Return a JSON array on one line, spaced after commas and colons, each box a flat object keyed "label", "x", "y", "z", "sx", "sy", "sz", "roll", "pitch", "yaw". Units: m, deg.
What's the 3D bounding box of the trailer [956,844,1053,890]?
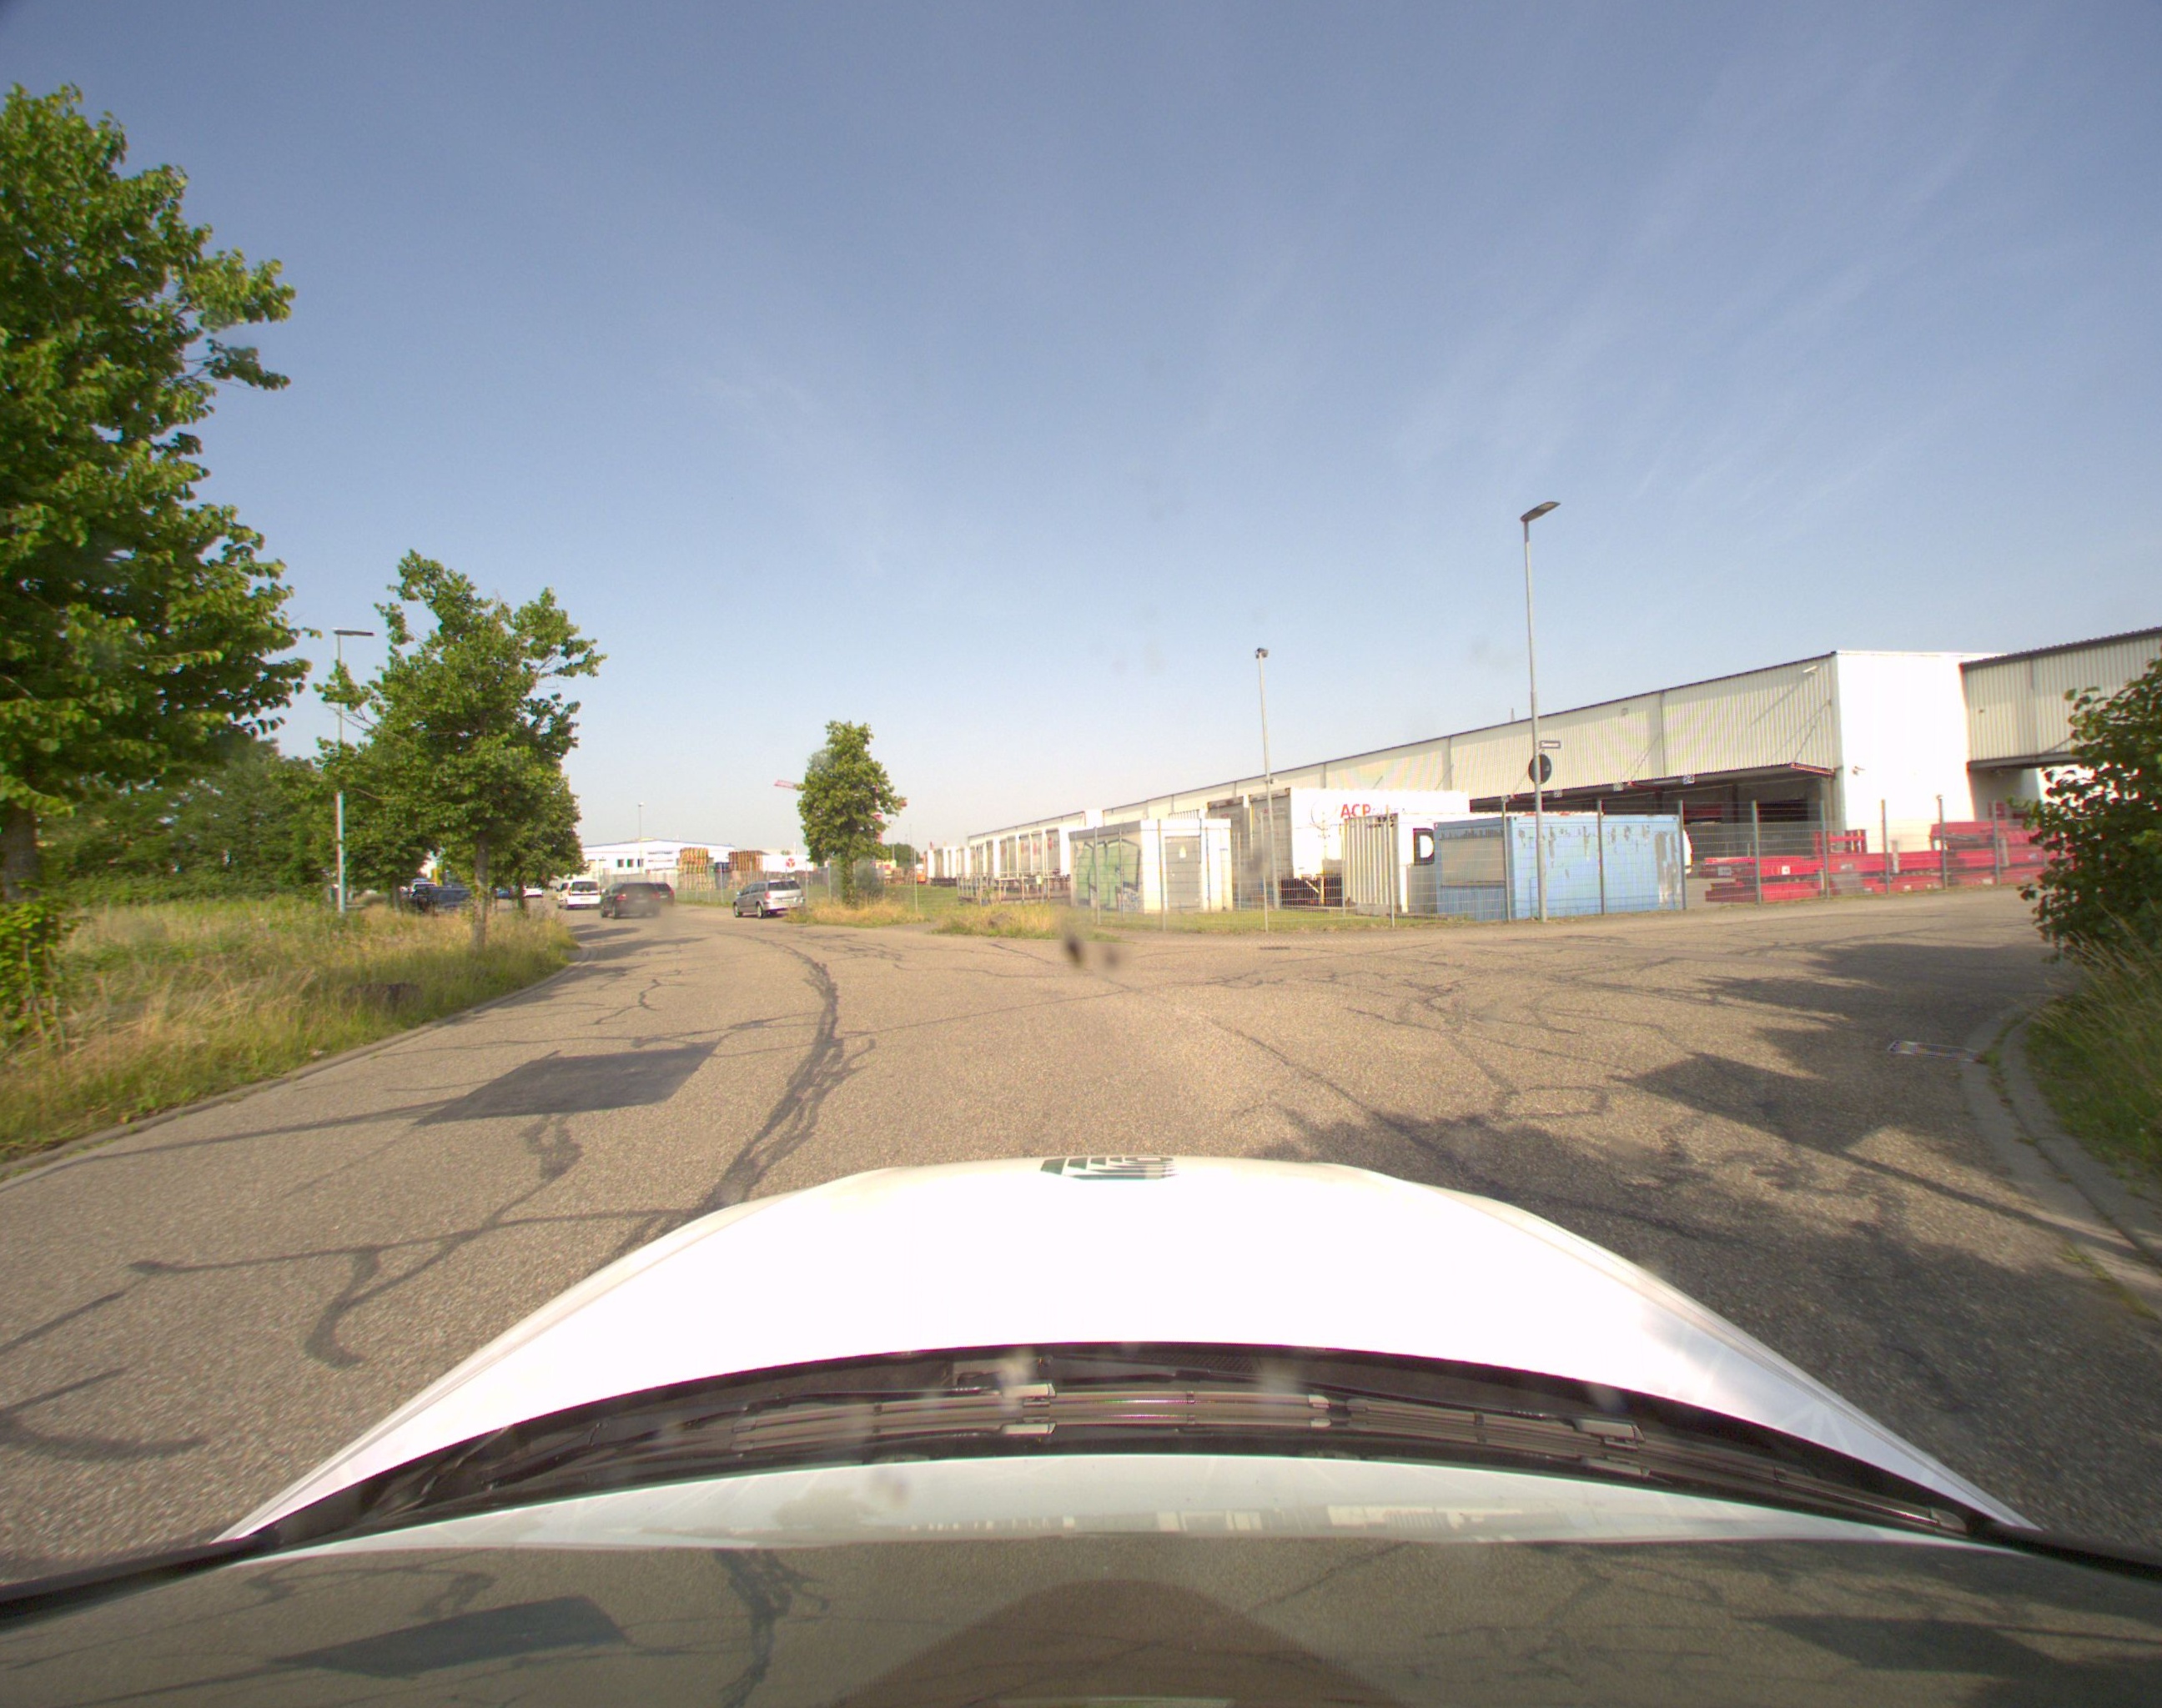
[{"label": "trailer", "x": -6.695, "y": 1.125, "z": 71.169, "sx": 7.995, "sy": 3.894, "sz": 2.755, "roll": 0, "pitch": -1, "yaw": -22}]

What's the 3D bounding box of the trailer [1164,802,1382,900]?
[{"label": "trailer", "x": 8.031, "y": -0.161, "z": 33.937, "sx": 8.767, "sy": 3.761, "sz": 2.770, "roll": -1, "pitch": -2, "yaw": -22}]

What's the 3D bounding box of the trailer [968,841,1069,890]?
[{"label": "trailer", "x": -5.213, "y": 0.951, "z": 68.315, "sx": 7.995, "sy": 3.894, "sz": 2.755, "roll": 0, "pitch": -1, "yaw": -22}]

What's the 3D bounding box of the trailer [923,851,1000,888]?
[{"label": "trailer", "x": -13.007, "y": 1.629, "z": 88.767, "sx": 7.995, "sy": 3.894, "sz": 2.722, "roll": 0, "pitch": -1, "yaw": -22}]

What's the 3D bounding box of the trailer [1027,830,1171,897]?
[{"label": "trailer", "x": 1.132, "y": 0.572, "z": 50.487, "sx": 8.570, "sy": 3.894, "sz": 2.755, "roll": 0, "pitch": -1, "yaw": -22}]

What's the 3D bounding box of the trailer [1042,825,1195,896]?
[{"label": "trailer", "x": 2.210, "y": 0.380, "z": 47.588, "sx": 8.570, "sy": 3.894, "sz": 2.755, "roll": 0, "pitch": -1, "yaw": -22}]

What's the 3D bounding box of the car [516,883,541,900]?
[{"label": "car", "x": -59.210, "y": 4.000, "z": 87.214, "sx": 1.730, "sy": 1.680, "sz": 3.902, "roll": -1, "pitch": -2, "yaw": -42}]

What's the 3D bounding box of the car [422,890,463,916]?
[{"label": "car", "x": -39.080, "y": 2.983, "z": 49.833, "sx": 1.848, "sy": 1.496, "sz": 4.001, "roll": 1, "pitch": -2, "yaw": -40}]

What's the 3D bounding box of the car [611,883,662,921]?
[{"label": "car", "x": -20.742, "y": 2.195, "z": 37.911, "sx": 1.893, "sy": 1.586, "sz": 4.072, "roll": -2, "pitch": -2, "yaw": -31}]

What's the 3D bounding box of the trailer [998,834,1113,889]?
[{"label": "trailer", "x": -1.885, "y": 0.556, "z": 60.011, "sx": 8.065, "sy": 3.894, "sz": 2.755, "roll": 0, "pitch": -1, "yaw": -22}]

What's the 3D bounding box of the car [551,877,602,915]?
[{"label": "car", "x": -30.954, "y": 2.584, "z": 49.904, "sx": 2.139, "sy": 2.110, "sz": 4.571, "roll": -2, "pitch": -2, "yaw": -38}]

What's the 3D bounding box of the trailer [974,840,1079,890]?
[{"label": "trailer", "x": -4.347, "y": 0.861, "z": 65.435, "sx": 7.995, "sy": 3.894, "sz": 2.755, "roll": 0, "pitch": -1, "yaw": -22}]

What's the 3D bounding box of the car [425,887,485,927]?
[{"label": "car", "x": -27.664, "y": 2.290, "z": 35.946, "sx": 1.919, "sy": 1.626, "sz": 4.396, "roll": 1, "pitch": -2, "yaw": -40}]

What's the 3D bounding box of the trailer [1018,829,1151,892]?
[{"label": "trailer", "x": 0.244, "y": 0.417, "z": 53.353, "sx": 8.341, "sy": 3.894, "sz": 2.755, "roll": 0, "pitch": -1, "yaw": -22}]

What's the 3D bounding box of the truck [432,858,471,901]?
[{"label": "truck", "x": -66.621, "y": 2.721, "z": 86.070, "sx": 2.520, "sy": 4.145, "sz": 10.254, "roll": -4, "pitch": 0, "yaw": -41}]

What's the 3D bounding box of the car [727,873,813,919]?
[{"label": "car", "x": -12.834, "y": 1.714, "z": 33.489, "sx": 1.815, "sy": 1.626, "sz": 4.396, "roll": -4, "pitch": 0, "yaw": -41}]

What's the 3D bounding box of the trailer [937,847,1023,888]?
[{"label": "trailer", "x": -9.945, "y": 1.355, "z": 80.407, "sx": 7.995, "sy": 3.894, "sz": 2.755, "roll": 0, "pitch": -1, "yaw": -22}]

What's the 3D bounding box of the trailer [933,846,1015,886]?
[{"label": "trailer", "x": -10.930, "y": 1.193, "z": 83.214, "sx": 7.995, "sy": 3.894, "sz": 2.755, "roll": 0, "pitch": -1, "yaw": -22}]

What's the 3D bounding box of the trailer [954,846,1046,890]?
[{"label": "trailer", "x": -7.378, "y": 1.296, "z": 74.604, "sx": 7.995, "sy": 3.894, "sz": 2.755, "roll": 0, "pitch": -1, "yaw": -22}]

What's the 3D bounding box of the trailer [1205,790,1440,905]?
[{"label": "trailer", "x": 9.279, "y": -0.306, "z": 31.167, "sx": 8.567, "sy": 3.893, "sz": 2.756, "roll": -3, "pitch": -1, "yaw": -21}]

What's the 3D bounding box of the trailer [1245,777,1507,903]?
[{"label": "trailer", "x": 10.220, "y": -0.495, "z": 28.177, "sx": 8.565, "sy": 3.894, "sz": 2.756, "roll": -2, "pitch": -3, "yaw": -20}]

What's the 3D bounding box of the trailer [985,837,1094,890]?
[{"label": "trailer", "x": -3.181, "y": 0.750, "z": 62.676, "sx": 7.995, "sy": 3.894, "sz": 2.755, "roll": 0, "pitch": -1, "yaw": -22}]

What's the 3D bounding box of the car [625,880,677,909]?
[{"label": "car", "x": -25.788, "y": 2.422, "z": 48.797, "sx": 1.730, "sy": 1.515, "sz": 3.955, "roll": -4, "pitch": 0, "yaw": -43}]

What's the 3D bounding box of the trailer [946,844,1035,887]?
[{"label": "trailer", "x": -8.567, "y": 1.073, "z": 77.422, "sx": 7.995, "sy": 3.894, "sz": 2.755, "roll": 0, "pitch": -1, "yaw": -22}]

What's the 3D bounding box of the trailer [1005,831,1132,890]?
[{"label": "trailer", "x": -0.846, "y": 0.457, "z": 56.192, "sx": 8.341, "sy": 3.894, "sz": 2.755, "roll": 0, "pitch": -1, "yaw": -22}]
